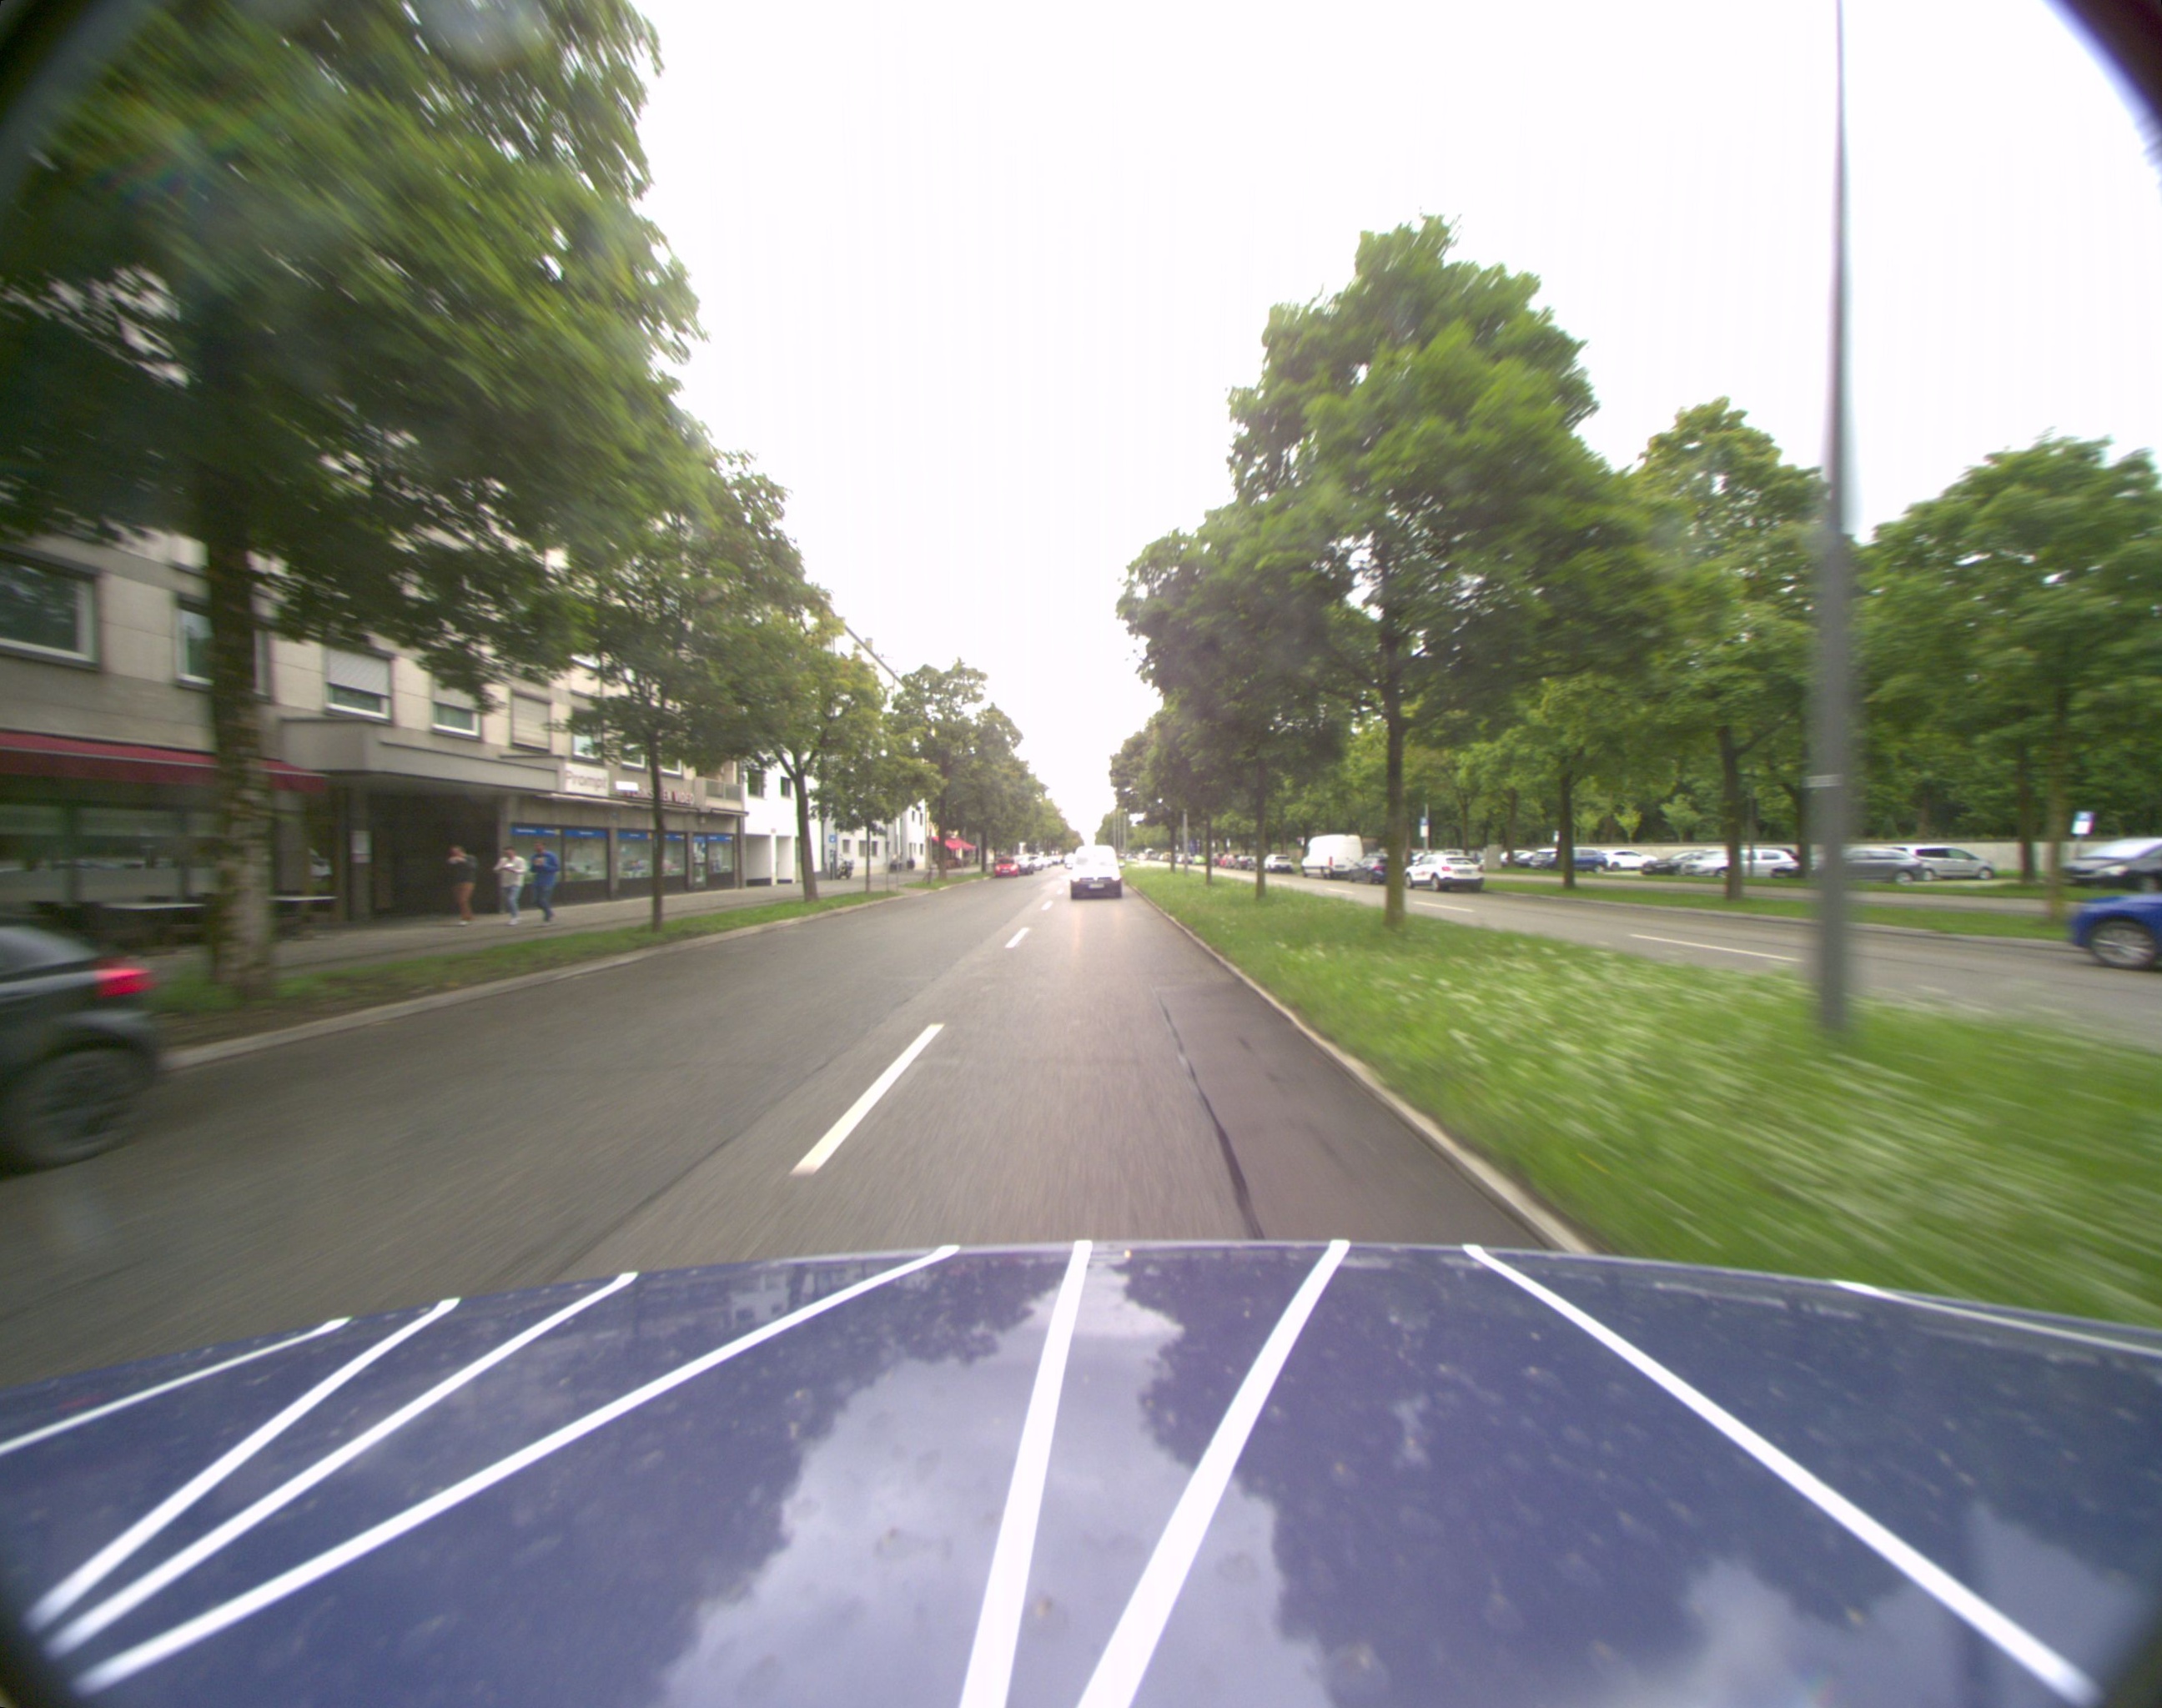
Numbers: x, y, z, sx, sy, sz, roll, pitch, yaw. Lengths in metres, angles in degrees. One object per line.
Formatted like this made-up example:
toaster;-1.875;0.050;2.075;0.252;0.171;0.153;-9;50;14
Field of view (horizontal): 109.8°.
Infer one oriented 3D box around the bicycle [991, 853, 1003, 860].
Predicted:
bicycle;-14.108;0.461;128.018;2.032;1.061;0.663;-1;1;-3

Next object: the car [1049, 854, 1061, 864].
car;-3.988;0.789;116.404;1.648;1.468;3.956;-1;0;0

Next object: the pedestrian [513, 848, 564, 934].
pedestrian;-11.136;0.742;15.622;0.501;1.723;0.733;0;1;1

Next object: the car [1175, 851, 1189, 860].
car;17.374;0.269;131.165;1.826;1.438;3.787;2;0;-1

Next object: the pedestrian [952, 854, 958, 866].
pedestrian;-14.193;0.637;85.395;0.539;1.331;0.552;-1;1;0

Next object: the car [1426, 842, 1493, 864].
car;27.556;-0.054;55.389;3.996;1.561;1.815;-1;1;3

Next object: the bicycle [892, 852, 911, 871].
bicycle;-13.923;0.577;58.948;0.704;1.399;2.593;3;0;1

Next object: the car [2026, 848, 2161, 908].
car;28.485;0.607;20.074;3.992;1.496;2.002;0;0;14

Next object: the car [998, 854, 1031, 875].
car;-4.923;0.757;56.397;1.524;1.433;4.002;-1;0;8

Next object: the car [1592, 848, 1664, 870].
car;40.544;0.367;56.428;3.995;1.643;1.771;0;1;6

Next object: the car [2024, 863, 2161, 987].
car;14.442;0.927;8.684;1.891;1.528;4.314;2;0;-1

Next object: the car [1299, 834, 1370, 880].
car;15.568;0.170;47.220;2.145;2.628;7.105;1;0;1

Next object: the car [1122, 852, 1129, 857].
car;13.279;0.260;226.797;1.820;1.440;4.782;0;0;0

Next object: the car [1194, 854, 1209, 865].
car;16.784;0.741;105.793;1.644;1.490;4.000;1;0;2

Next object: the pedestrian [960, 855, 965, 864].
pedestrian;-13.886;0.609;89.157;0.539;1.048;0.487;-1;1;1

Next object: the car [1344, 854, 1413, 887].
car;15.308;0.823;39.323;1.862;1.482;4.251;-1;1;0

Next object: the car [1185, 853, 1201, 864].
car;16.866;0.639;114.253;1.826;1.621;4.456;0;0;1

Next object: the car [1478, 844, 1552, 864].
car;29.581;-0.017;51.917;3.996;1.331;1.815;-1;0;4

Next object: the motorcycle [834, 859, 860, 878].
motorcycle;-13.652;0.850;44.432;0.763;1.079;2.199;0;0;1

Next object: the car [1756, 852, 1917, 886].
car;28.507;0.556;28.777;4.183;1.202;1.784;0;0;4

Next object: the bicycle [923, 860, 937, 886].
bicycle;-7.578;0.925;38.195;0.456;1.248;2.146;-1;0;-17

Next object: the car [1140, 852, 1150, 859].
car;15.022;0.286;178.293;1.855;1.591;4.402;1;0;1

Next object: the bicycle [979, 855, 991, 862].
bicycle;-16.568;0.761;131.094;2.032;1.061;0.663;-1;1;-3

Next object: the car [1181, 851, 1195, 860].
car;16.894;0.268;120.124;1.654;1.414;3.687;2;0;2

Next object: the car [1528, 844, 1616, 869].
car;29.005;0.160;44.988;3.995;1.429;1.815;0;0;6

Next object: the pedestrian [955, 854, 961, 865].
pedestrian;-14.025;0.656;86.709;0.539;1.261;0.487;-1;1;0

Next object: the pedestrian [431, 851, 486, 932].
pedestrian;-12.858;0.755;15.722;0.543;1.631;0.724;0;1;-4

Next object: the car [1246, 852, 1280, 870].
car;15.820;0.582;66.297;1.826;1.439;3.999;1;0;-2

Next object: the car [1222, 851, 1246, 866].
car;16.546;0.468;82.455;1.826;1.471;3.809;-1;1;0

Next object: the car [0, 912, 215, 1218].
car;-6.342;1.103;2.695;1.999;1.443;3.999;-1;0;-2

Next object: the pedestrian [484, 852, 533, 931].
pedestrian;-12.003;0.771;15.943;0.550;1.620;0.641;1;1;1

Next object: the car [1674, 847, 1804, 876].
car;28.516;0.334;33.020;3.995;1.202;1.784;0;0;4

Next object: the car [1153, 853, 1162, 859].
car;18.203;0.419;180.561;1.717;1.401;4.041;1;0;-1

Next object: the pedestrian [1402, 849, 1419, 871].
pedestrian;22.632;0.431;52.193;0.796;1.487;0.856;-1;1;1

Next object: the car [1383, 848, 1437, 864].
car;28.743;0.164;66.453;3.998;1.276;1.740;-1;0;-4

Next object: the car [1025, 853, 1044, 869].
car;-4.903;0.703;80.426;1.834;1.513;4.522;-2;0;-3

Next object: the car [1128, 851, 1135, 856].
car;16.043;-0.271;241.146;1.826;1.544;3.721;-1;0;2

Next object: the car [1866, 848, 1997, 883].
car;40.393;0.530;36.181;3.995;1.587;1.771;0;1;6

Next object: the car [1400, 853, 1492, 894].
car;15.086;0.769;31.688;1.862;1.482;4.141;-1;1;0

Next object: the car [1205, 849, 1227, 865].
car;15.610;0.308;88.029;1.826;1.690;4.238;-1;1;0

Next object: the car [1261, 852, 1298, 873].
car;15.836;0.619;60.931;1.826;1.519;4.298;1;1;0

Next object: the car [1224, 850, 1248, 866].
car;15.953;0.436;78.248;1.826;1.590;4.113;0;0;2

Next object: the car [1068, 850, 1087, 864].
car;-0.374;0.342;89.691;1.984;1.591;4.402;1;0;1

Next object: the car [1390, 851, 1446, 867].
car;28.266;0.432;63.744;3.999;1.276;1.740;-1;1;-5

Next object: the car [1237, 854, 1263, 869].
car;16.172;0.710;72.791;1.825;1.401;4.001;1;0;3

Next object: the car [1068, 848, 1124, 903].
car;0.533;0.707;27.293;1.772;1.742;4.546;-3;0;1

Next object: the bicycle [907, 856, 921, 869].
bicycle;-13.922;0.726;63.502;0.623;1.040;2.195;3;0;1

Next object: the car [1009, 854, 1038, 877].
car;-4.682;0.893;62.451;1.833;1.736;4.508;-1;0;2
